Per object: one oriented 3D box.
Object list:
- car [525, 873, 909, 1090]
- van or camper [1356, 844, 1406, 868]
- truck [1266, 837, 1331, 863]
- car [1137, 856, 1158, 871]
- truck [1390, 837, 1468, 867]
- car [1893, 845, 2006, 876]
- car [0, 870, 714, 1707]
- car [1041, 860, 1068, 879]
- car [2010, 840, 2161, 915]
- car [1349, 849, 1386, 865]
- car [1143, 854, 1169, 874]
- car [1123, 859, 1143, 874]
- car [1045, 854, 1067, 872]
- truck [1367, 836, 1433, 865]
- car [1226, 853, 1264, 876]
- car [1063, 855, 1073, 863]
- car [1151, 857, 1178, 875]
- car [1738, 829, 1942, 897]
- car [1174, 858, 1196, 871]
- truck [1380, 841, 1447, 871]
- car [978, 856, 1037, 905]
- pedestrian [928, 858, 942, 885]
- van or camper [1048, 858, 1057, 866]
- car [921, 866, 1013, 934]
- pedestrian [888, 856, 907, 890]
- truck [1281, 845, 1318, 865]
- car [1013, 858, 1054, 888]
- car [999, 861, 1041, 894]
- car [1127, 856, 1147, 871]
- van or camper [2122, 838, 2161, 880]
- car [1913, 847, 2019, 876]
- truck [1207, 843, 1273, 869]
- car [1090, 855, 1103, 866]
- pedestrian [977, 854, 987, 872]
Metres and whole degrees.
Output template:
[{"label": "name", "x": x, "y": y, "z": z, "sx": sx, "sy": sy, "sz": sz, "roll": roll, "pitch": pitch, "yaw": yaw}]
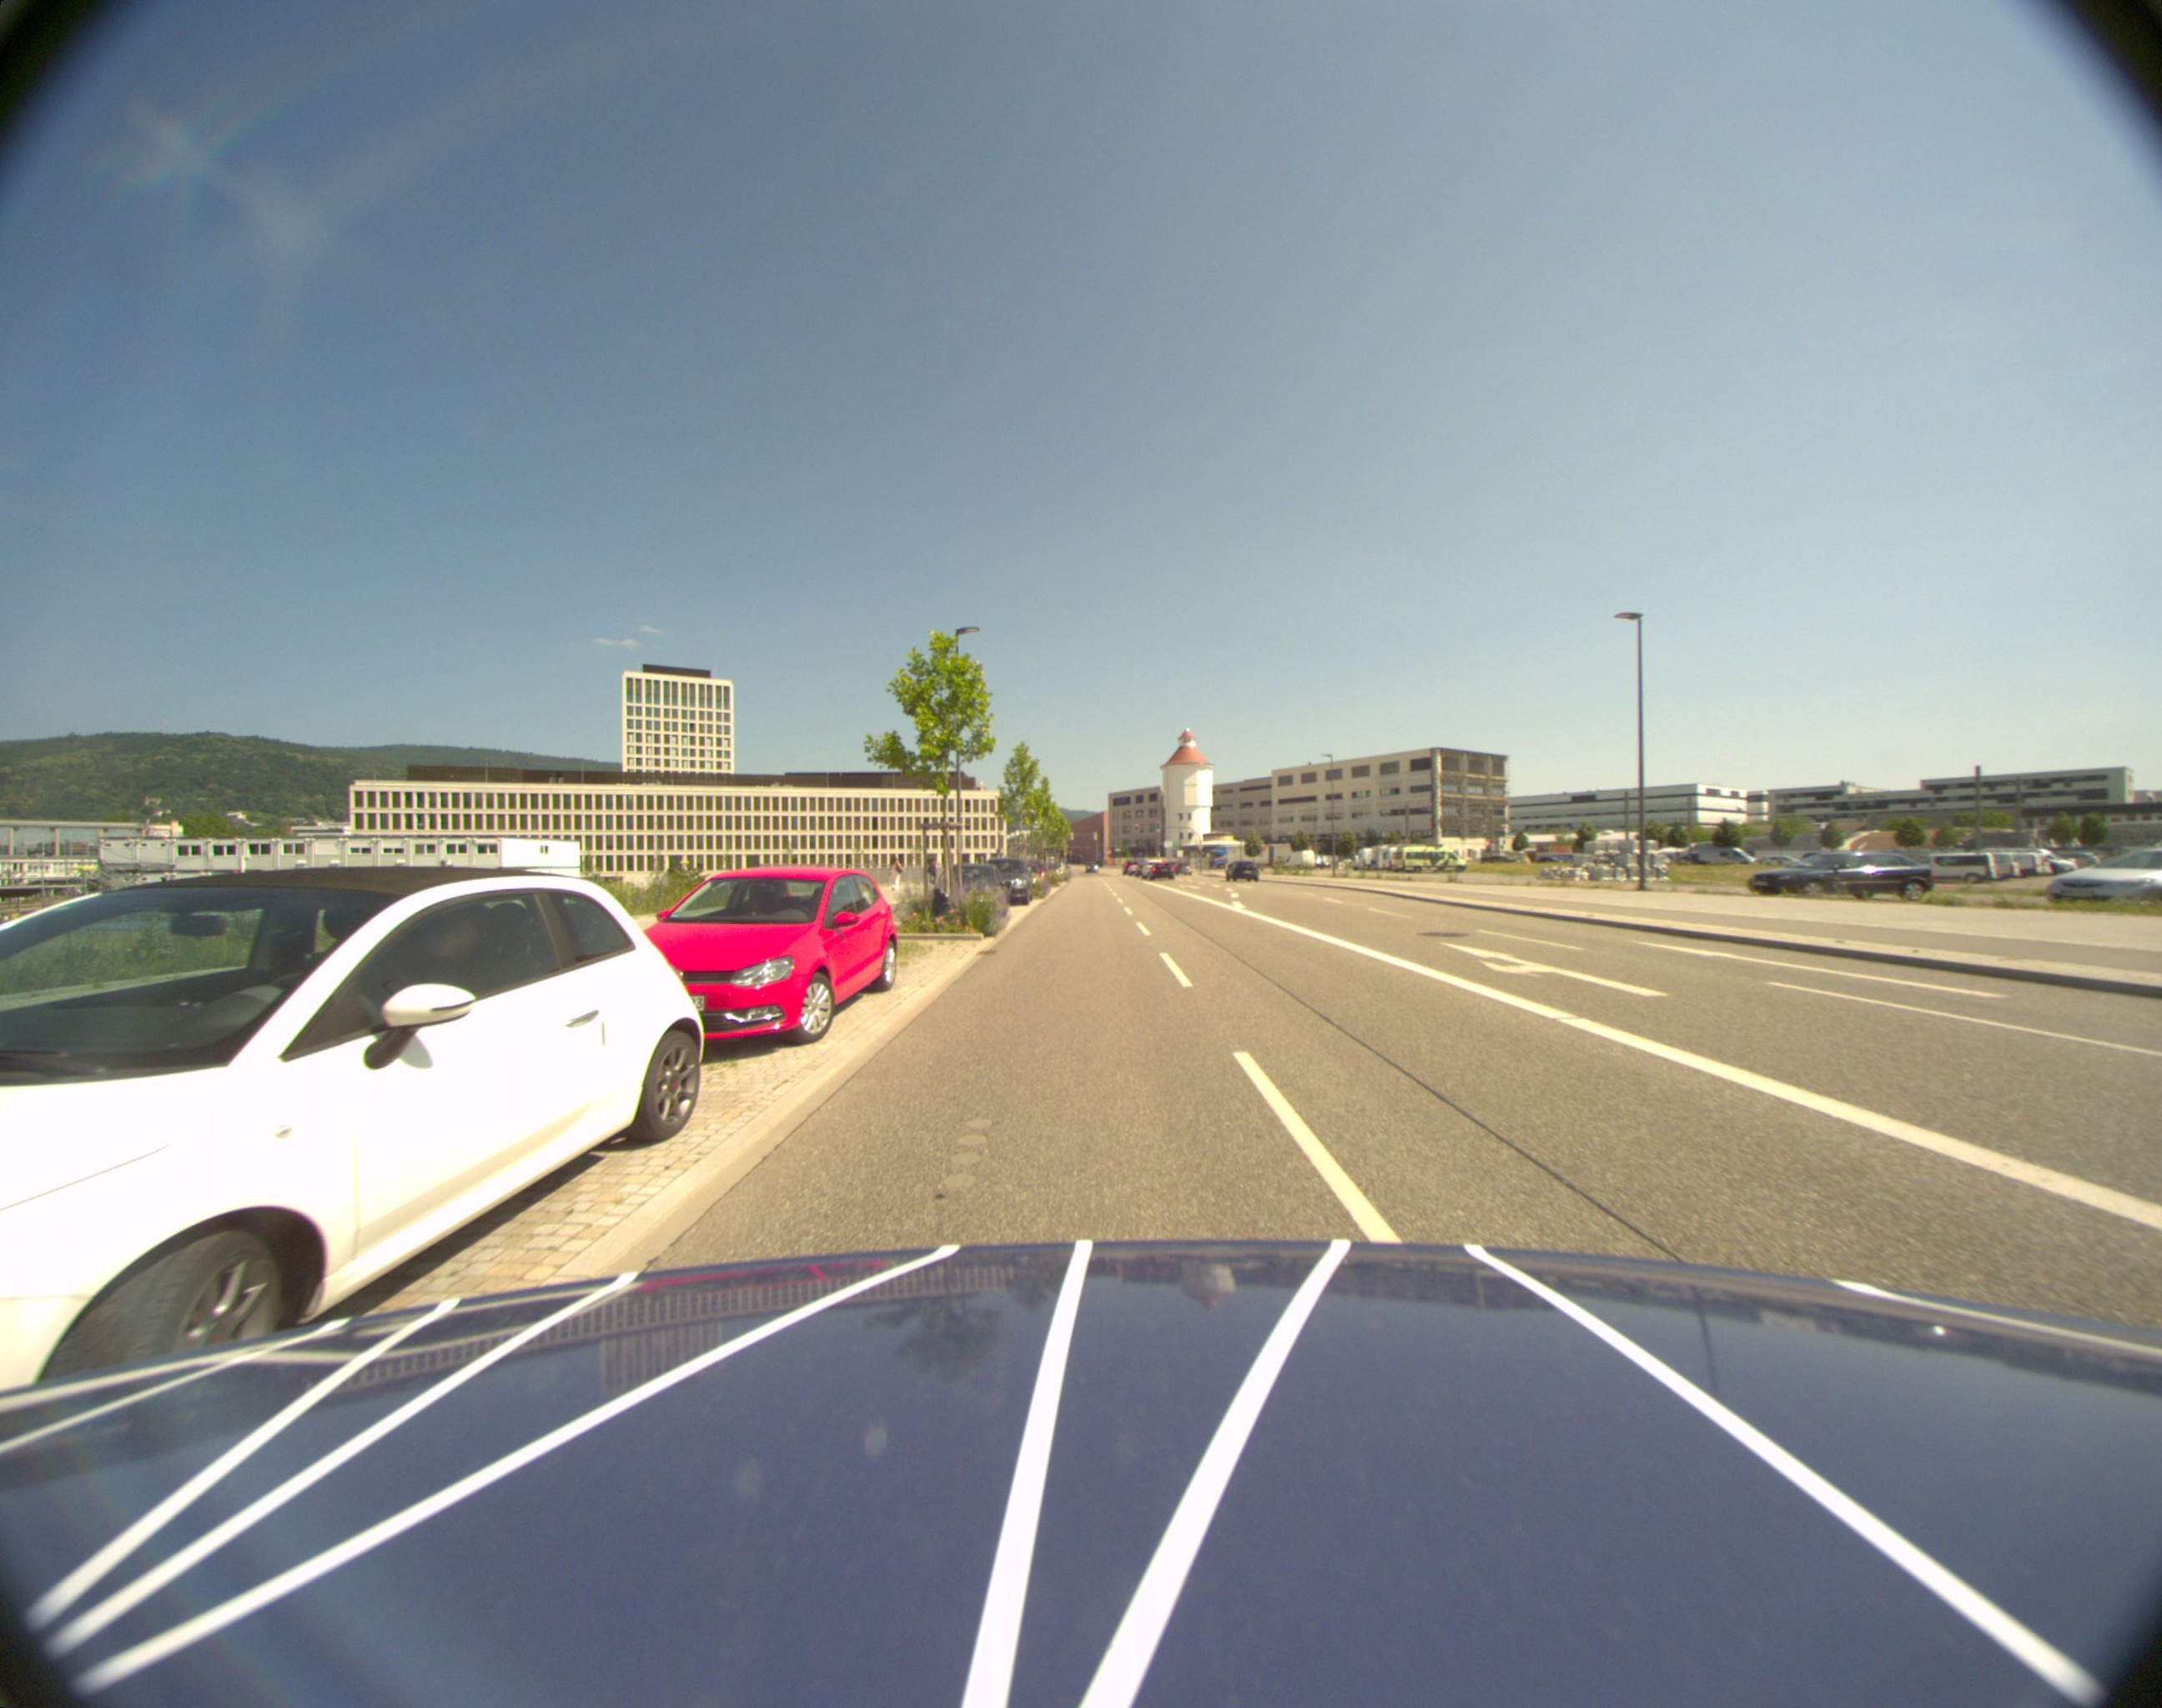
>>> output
[{"label": "car", "x": -3.034, "y": 0.953, "z": 7.376, "sx": 1.722, "sy": 1.442, "sz": 4.001, "roll": -2, "pitch": -1, "yaw": 1}, {"label": "van or camper", "x": 35.116, "y": 0.196, "z": 89.022, "sx": 4.912, "sy": 2.646, "sz": 2.260, "roll": -2, "pitch": 0, "yaw": 0}, {"label": "truck", "x": 39.448, "y": -0.688, "z": 137.711, "sx": 10.951, "sy": 4.251, "sz": 3.341, "roll": -2, "pitch": 1, "yaw": -11}, {"label": "car", "x": 6.707, "y": 0.943, "z": 77.341, "sx": 1.790, "sy": 1.413, "sz": 4.282, "roll": -1, "pitch": 0, "yaw": 1}, {"label": "truck", "x": 35.092, "y": -0.167, "z": 76.794, "sx": 6.654, "sy": 2.809, "sz": 2.602, "roll": -2, "pitch": 0, "yaw": -2}, {"label": "car", "x": 57.549, "y": 0.427, "z": 50.443, "sx": 2.003, "sy": 2.002, "sz": 4.642, "roll": 0, "pitch": 0, "yaw": -32}, {"label": "car", "x": -3.003, "y": 0.915, "z": 2.576, "sx": 1.722, "sy": 1.516, "sz": 3.641, "roll": 1, "pitch": 2, "yaw": 1}, {"label": "car", "x": -2.114, "y": 1.279, "z": 62.590, "sx": 1.913, "sy": 1.470, "sz": 4.158, "roll": -1, "pitch": 0, "yaw": 2}, {"label": "car", "x": 23.693, "y": 0.438, "z": 16.072, "sx": 5.666, "sy": 1.465, "sz": 2.107, "roll": -1, "pitch": 0, "yaw": -2}, {"label": "car", "x": 34.871, "y": 0.358, "z": 92.508, "sx": 3.876, "sy": 1.748, "sz": 1.657, "roll": -2, "pitch": 0, "yaw": -3}, {"label": "car", "x": 6.595, "y": 0.861, "z": 67.532, "sx": 1.918, "sy": 1.640, "sz": 4.731, "roll": -1, "pitch": 0, "yaw": 1}, {"label": "car", "x": 6.339, "y": 1.530, "z": 92.730, "sx": 1.944, "sy": 1.778, "sz": 4.655, "roll": -2, "pitch": -1, "yaw": -2}, {"label": "car", "x": -2.256, "y": 0.834, "z": 70.414, "sx": 1.877, "sy": 1.618, "sz": 4.876, "roll": -1, "pitch": 0, "yaw": 0}, {"label": "truck", "x": 35.439, "y": -0.367, "z": 84.613, "sx": 6.160, "sy": 2.884, "sz": 2.570, "roll": -3, "pitch": 1, "yaw": 1}, {"label": "car", "x": 11.900, "y": 0.770, "z": 55.408, "sx": 1.907, "sy": 1.618, "sz": 4.387, "roll": 0, "pitch": 0, "yaw": 1}, {"label": "car", "x": -2.718, "y": 1.104, "z": 160.531, "sx": 1.783, "sy": 1.552, "sz": 3.832, "roll": 0, "pitch": 0, "yaw": 2}, {"label": "car", "x": 6.608, "y": 0.930, "z": 60.710, "sx": 1.791, "sy": 1.390, "sz": 4.572, "roll": -1, "pitch": 0, "yaw": 2}, {"label": "car", "x": 22.361, "y": 0.270, "z": 22.550, "sx": 3.994, "sy": 1.892, "sz": 1.829, "roll": 0, "pitch": 0, "yaw": 8}, {"label": "car", "x": 12.283, "y": 1.251, "z": 89.918, "sx": 1.907, "sy": 1.487, "sz": 4.387, "roll": -1, "pitch": 0, "yaw": 0}, {"label": "truck", "x": 34.855, "y": 0.180, "z": 79.859, "sx": 5.850, "sy": 2.808, "sz": 2.570, "roll": -3, "pitch": 1, "yaw": 0}, {"label": "car", "x": -2.542, "y": 0.899, "z": 27.158, "sx": 1.739, "sy": 1.599, "sz": 4.241, "roll": 1, "pitch": 0, "yaw": 0}, {"label": "pedestrian", "x": -9.341, "y": 1.130, "z": 48.663, "sx": 0.733, "sy": 1.695, "sz": 0.651, "roll": -2, "pitch": 2, "yaw": 1}, {"label": "van or camper", "x": -8.491, "y": 2.387, "z": 226.136, "sx": 2.159, "sy": 2.400, "sz": 5.678, "roll": 1, "pitch": 1, "yaw": -6}, {"label": "car", "x": -2.721, "y": 1.055, "z": 19.049, "sx": 1.637, "sy": 1.420, "sz": 4.241, "roll": -3, "pitch": -1, "yaw": -1}, {"label": "pedestrian", "x": -9.226, "y": 0.932, "z": 38.212, "sx": 0.782, "sy": 1.695, "sz": 0.742, "roll": -1, "pitch": 1, "yaw": 1}, {"label": "truck", "x": 30.125, "y": 0.135, "z": 105.129, "sx": 2.174, "sy": 2.639, "sz": 5.938, "roll": -1, "pitch": 0, "yaw": -14}, {"label": "car", "x": -2.705, "y": 1.091, "z": 44.133, "sx": 1.913, "sy": 1.607, "sz": 4.549, "roll": -1, "pitch": -1, "yaw": 2}, {"label": "car", "x": -2.876, "y": 1.086, "z": 36.403, "sx": 1.607, "sy": 1.483, "sz": 3.819, "roll": 1, "pitch": 0, "yaw": 1}, {"label": "car", "x": 6.310, "y": 1.037, "z": 85.503, "sx": 1.783, "sy": 1.672, "sz": 4.098, "roll": -1, "pitch": 0, "yaw": -2}, {"label": "van or camper", "x": 62.711, "y": 0.386, "z": 42.565, "sx": 2.004, "sy": 2.270, "sz": 4.922, "roll": 4, "pitch": 0, "yaw": -32}, {"label": "car", "x": 62.500, "y": 0.509, "z": 53.746, "sx": 2.003, "sy": 1.958, "sz": 4.642, "roll": 0, "pitch": 0, "yaw": -32}, {"label": "truck", "x": 28.313, "y": 0.308, "z": 135.287, "sx": 10.987, "sy": 4.044, "sz": 3.297, "roll": -3, "pitch": 1, "yaw": -17}, {"label": "car", "x": 2.319, "y": 0.969, "z": 112.403, "sx": 1.783, "sy": 1.552, "sz": 3.831, "roll": -1, "pitch": 0, "yaw": 0}, {"label": "pedestrian", "x": -8.941, "y": 0.833, "z": 68.781, "sx": 0.752, "sy": 1.599, "sz": 0.949, "roll": 2, "pitch": 0, "yaw": 0}]
